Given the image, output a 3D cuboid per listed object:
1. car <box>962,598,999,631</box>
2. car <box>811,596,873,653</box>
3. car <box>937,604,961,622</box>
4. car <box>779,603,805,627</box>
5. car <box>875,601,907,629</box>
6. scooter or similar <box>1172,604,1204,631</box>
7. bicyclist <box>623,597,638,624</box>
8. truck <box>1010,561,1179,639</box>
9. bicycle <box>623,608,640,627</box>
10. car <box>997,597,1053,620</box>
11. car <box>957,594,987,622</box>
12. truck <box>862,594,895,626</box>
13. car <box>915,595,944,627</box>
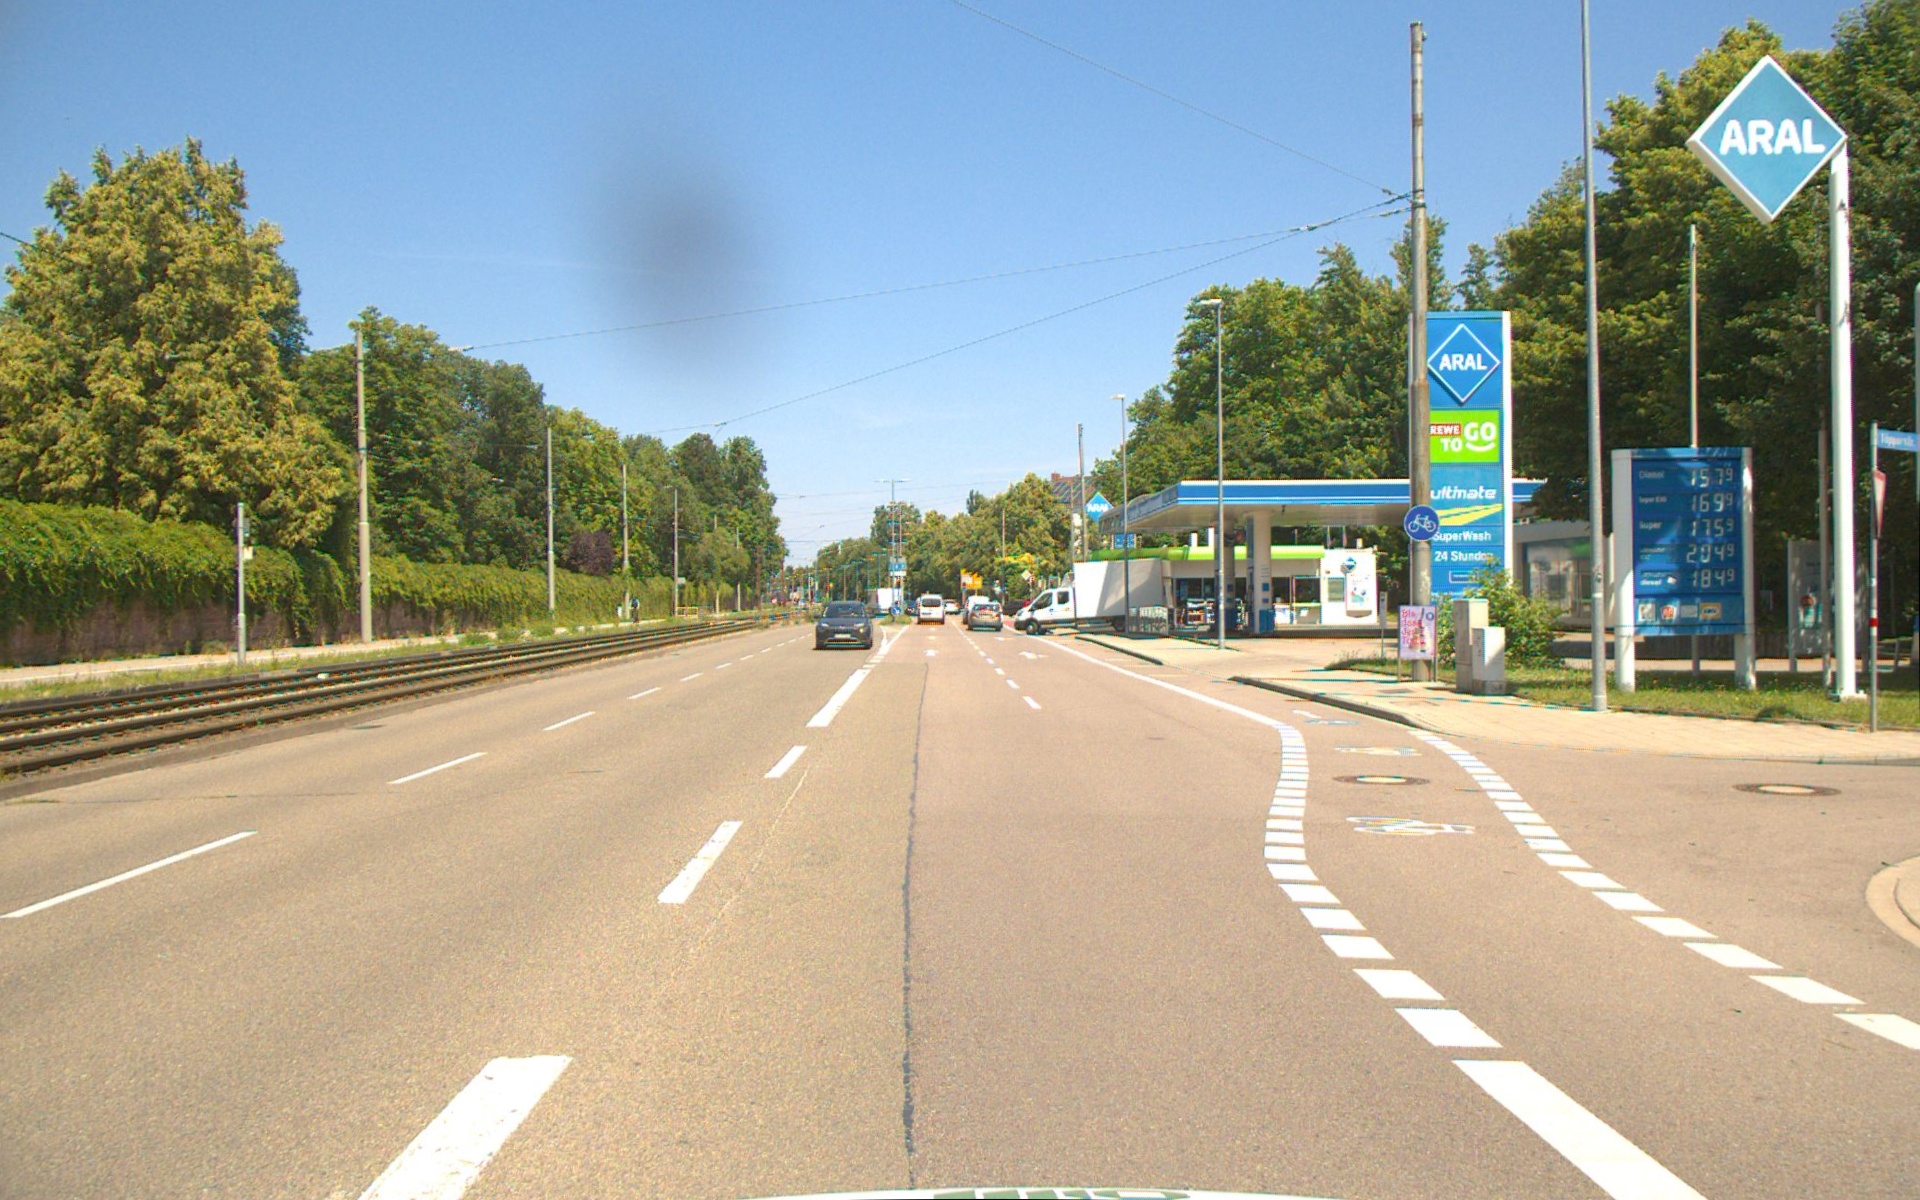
[{"bbox_3d":[1.080,0.785,89.176,1.720,1.659,4.322,-3,0,-2],"label":"car"},{"bbox_3d":[-3.748,0.758,53.072,1.720,1.659,4.322,-3,0,-2],"label":"car"},{"bbox_3d":[-1.152,1.315,168.152,1.723,1.659,4.314,-3,0,-9],"label":"car"},{"bbox_3d":[-11.994,1.062,118.116,1.722,1.659,4.317,-3,0,-7],"label":"car"},{"bbox_3d":[-4.281,0.907,103.373,1.720,1.659,4.323,-3,0,0],"label":"car"},{"bbox_3d":[11.523,0.885,83.647,1.522,1.351,0.536,0,0,-3],"label":"scooter or similar"},{"bbox_3d":[-20.456,0.651,102.751,0.668,1.601,0.795,-5,-1,-3],"label":"bicyclist"},{"bbox_3d":[6.536,0.031,80.592,7.801,3.665,2.663,0,0,19],"label":"truck"},{"bbox_3d":[-20.426,1.078,102.800,0.668,1.072,2.007,-5,-1,-3],"label":"bicycle"},{"bbox_3d":[5.281,0.726,134.801,4.232,1.688,1.757,-3,0,33],"label":"car"},{"bbox_3d":[0.762,0.511,106.922,1.720,1.659,4.322,-3,0,-2],"label":"car"},{"bbox_3d":[-7.370,0.882,149.108,2.484,2.726,11.804,0,0,-5],"label":"truck"},{"bbox_3d":[-1.965,0.680,105.652,1.720,1.907,4.322,-3,0,-2],"label":"car"}]
